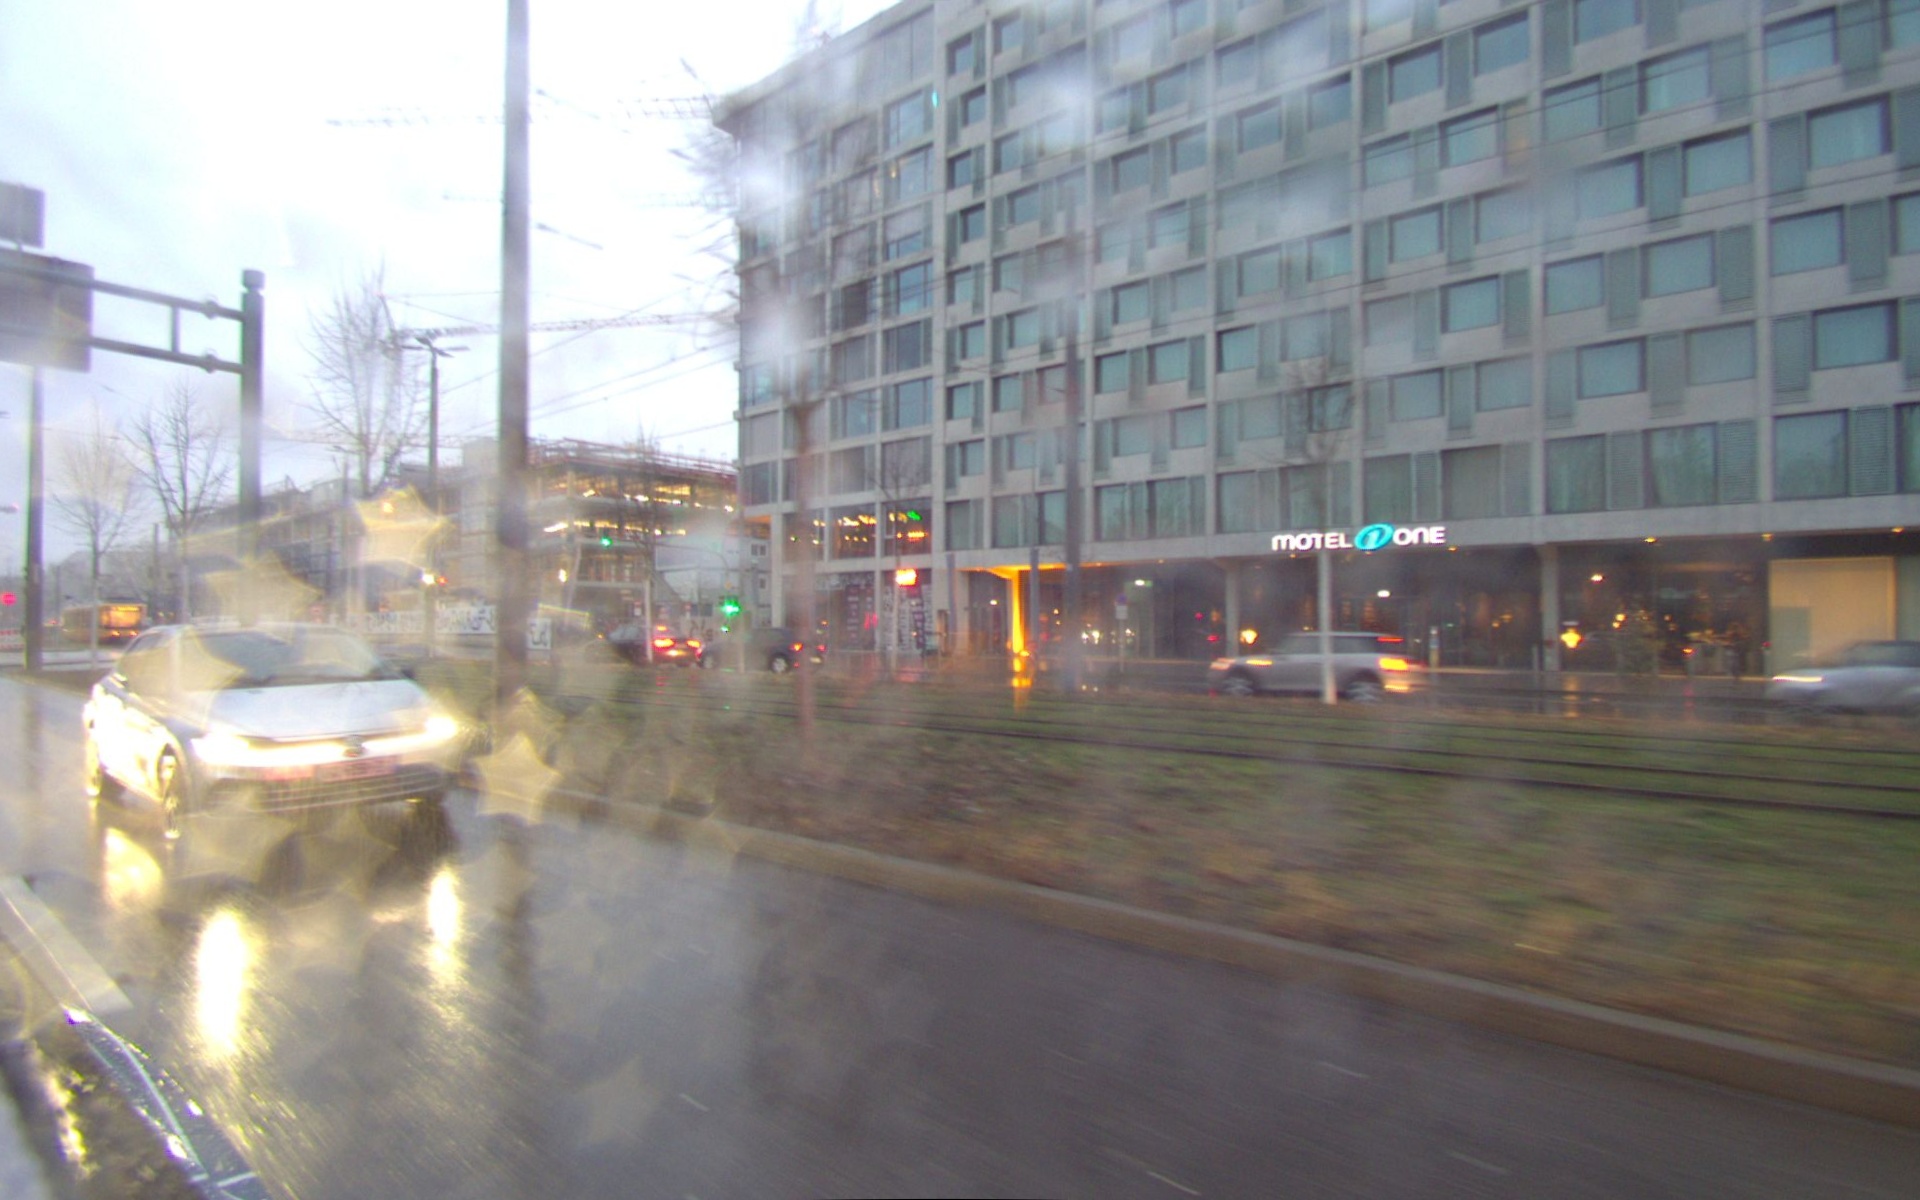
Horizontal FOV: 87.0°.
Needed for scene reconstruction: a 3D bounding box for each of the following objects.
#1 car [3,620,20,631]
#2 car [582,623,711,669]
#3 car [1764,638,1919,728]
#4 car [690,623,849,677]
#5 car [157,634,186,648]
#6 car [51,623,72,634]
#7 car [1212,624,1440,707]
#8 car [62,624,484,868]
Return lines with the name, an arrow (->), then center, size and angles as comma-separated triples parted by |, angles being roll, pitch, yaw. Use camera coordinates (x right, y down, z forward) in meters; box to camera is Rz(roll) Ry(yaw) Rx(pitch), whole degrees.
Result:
car -> -178.926, 4.759, 190.851 | 3.998, 2.029, 1.973 | -2, -2, 41
car -> -10.908, 1.540, 34.991 | 5.032, 1.479, 1.972 | -2, -2, 42
car -> 17.435, 1.458, 18.021 | 4.790, 1.528, 1.876 | -2, -2, 41
car -> -5.771, 1.482, 30.632 | 4.425, 1.508, 1.983 | -1, -2, 26
car -> -89.767, 4.659, 115.189 | 4.001, 1.577, 1.971 | -2, -2, 44
car -> -155.848, 4.980, 175.512 | 3.995, 1.837, 1.974 | -1, -2, 38
car -> 6.976, 1.193, 19.455 | 3.704, 1.442, 1.876 | -2, -2, 40
car -> -5.472, 0.894, 7.867 | 3.979, 1.381, 1.744 | -1, -1, 41
